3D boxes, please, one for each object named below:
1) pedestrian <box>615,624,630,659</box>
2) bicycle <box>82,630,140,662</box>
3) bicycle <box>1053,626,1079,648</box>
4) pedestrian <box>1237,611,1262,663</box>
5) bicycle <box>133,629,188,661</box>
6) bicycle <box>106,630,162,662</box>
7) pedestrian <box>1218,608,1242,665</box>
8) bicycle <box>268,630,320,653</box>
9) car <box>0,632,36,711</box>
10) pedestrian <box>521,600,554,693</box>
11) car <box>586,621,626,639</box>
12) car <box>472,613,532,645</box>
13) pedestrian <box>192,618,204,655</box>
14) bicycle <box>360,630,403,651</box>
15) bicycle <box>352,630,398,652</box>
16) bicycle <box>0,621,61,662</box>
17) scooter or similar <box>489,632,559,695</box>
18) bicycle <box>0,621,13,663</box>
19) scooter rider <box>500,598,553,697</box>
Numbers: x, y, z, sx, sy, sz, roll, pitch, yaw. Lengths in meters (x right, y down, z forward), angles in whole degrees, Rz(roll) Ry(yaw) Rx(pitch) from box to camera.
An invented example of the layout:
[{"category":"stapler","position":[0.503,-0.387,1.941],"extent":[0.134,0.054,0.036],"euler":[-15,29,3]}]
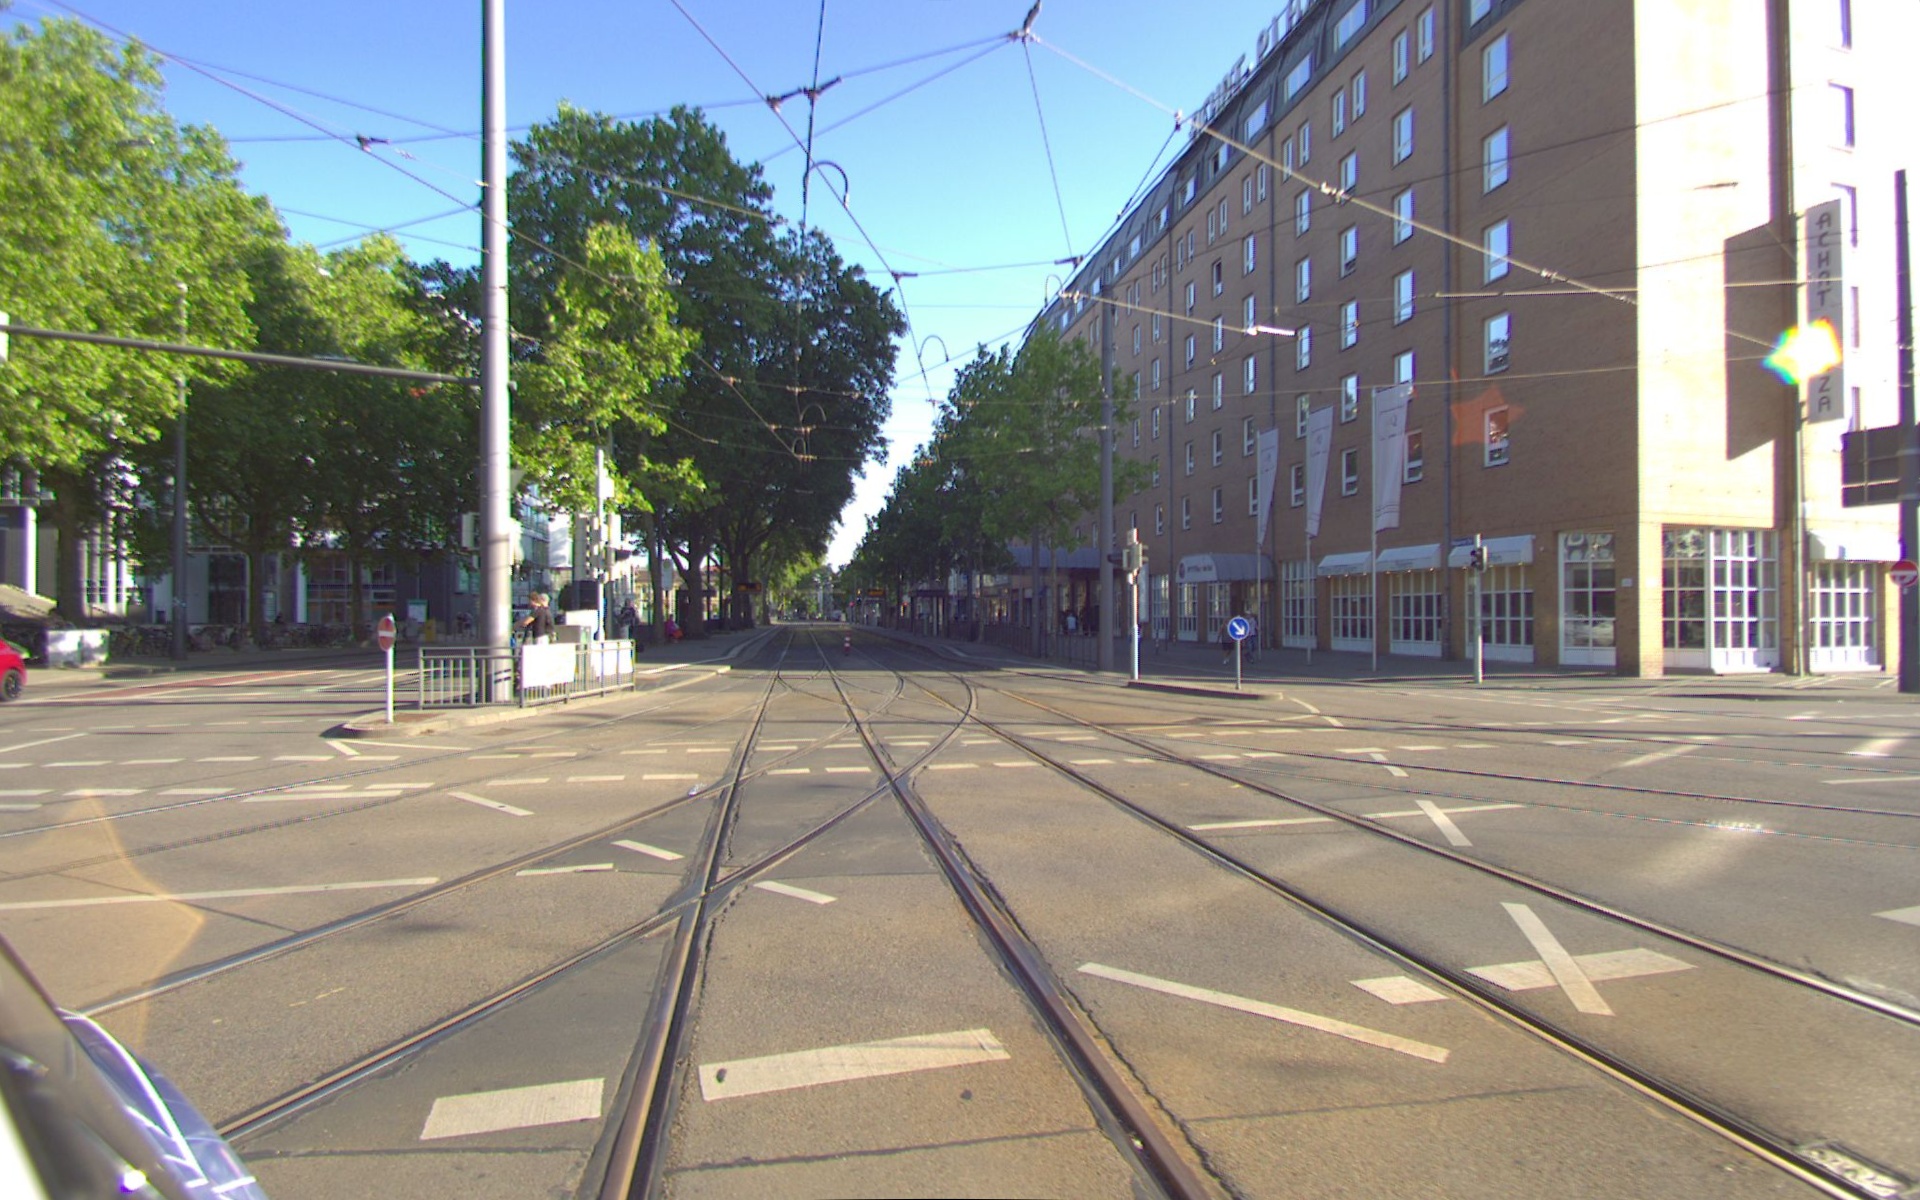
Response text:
[{"category":"pedestrian","position":[-10.142,1.234,30.380],"extent":[0.399,1.040,0.380],"euler":[0,-1,-15]},{"category":"bicycle","position":[-29.307,1.582,34.980],"extent":[0.569,1.072,1.950],"euler":[0,-1,-8]},{"category":"bicycle","position":[5.149,1.805,49.170],"extent":[0.604,1.026,2.159],"euler":[0,-1,-13]},{"category":"pedestrian","position":[9.884,1.260,34.575],"extent":[0.639,1.756,0.704],"euler":[-1,-1,3]},{"category":"bicycle","position":[-27.724,1.555,35.120],"extent":[0.569,1.072,1.950],"euler":[0,-1,-8]},{"category":"bicycle","position":[-28.524,1.568,34.978],"extent":[0.569,1.072,1.950],"euler":[0,-1,-8]},{"category":"pedestrian","position":[9.202,1.234,34.527],"extent":[0.639,1.909,0.745],"euler":[0,-1,3]},{"category":"bicycle","position":[-30.685,1.904,46.654],"extent":[1.913,1.072,0.580],"euler":[0,-1,-25]},{"category":"car","position":[-18.234,1.301,17.412],"extent":[1.664,1.439,4.010],"euler":[0,-1,-13]},{"category":"pedestrian","position":[-8.339,0.911,20.002],"extent":[0.560,1.810,0.675],"euler":[1,-1,-21]},{"category":"car","position":[-28.669,2.422,82.086],"extent":[1.670,1.439,3.996],"euler":[-1,-1,3]},{"category":"car","position":[-28.670,1.798,63.560],"extent":[1.942,1.960,4.971],"euler":[-1,-1,-5]},{"category":"pedestrian","position":[-32.359,1.543,42.975],"extent":[0.404,1.567,0.448],"euler":[1,-2,-38]},{"category":"bicycle","position":[-30.683,2.133,53.674],"extent":[1.913,1.072,0.580],"euler":[0,-1,-16]},{"category":"bicycle","position":[-29.788,2.082,51.544],"extent":[1.913,1.072,0.580],"euler":[0,-1,-16]},{"category":"bicycle","position":[-28.183,1.224,30.603],"extent":[3.551,1.198,0.774],"euler":[-1,-2,37]},{"category":"scooter or similar","position":[-8.285,1.201,19.252],"extent":[1.143,1.188,0.456],"euler":[0,-1,-3]},{"category":"bicycle","position":[-28.553,1.213,29.487],"extent":[3.551,1.198,0.774],"euler":[-1,-2,37]},{"category":"scooter rider","position":[-8.241,0.895,19.257],"extent":[0.752,1.847,0.589],"euler":[0,-1,-3]}]
